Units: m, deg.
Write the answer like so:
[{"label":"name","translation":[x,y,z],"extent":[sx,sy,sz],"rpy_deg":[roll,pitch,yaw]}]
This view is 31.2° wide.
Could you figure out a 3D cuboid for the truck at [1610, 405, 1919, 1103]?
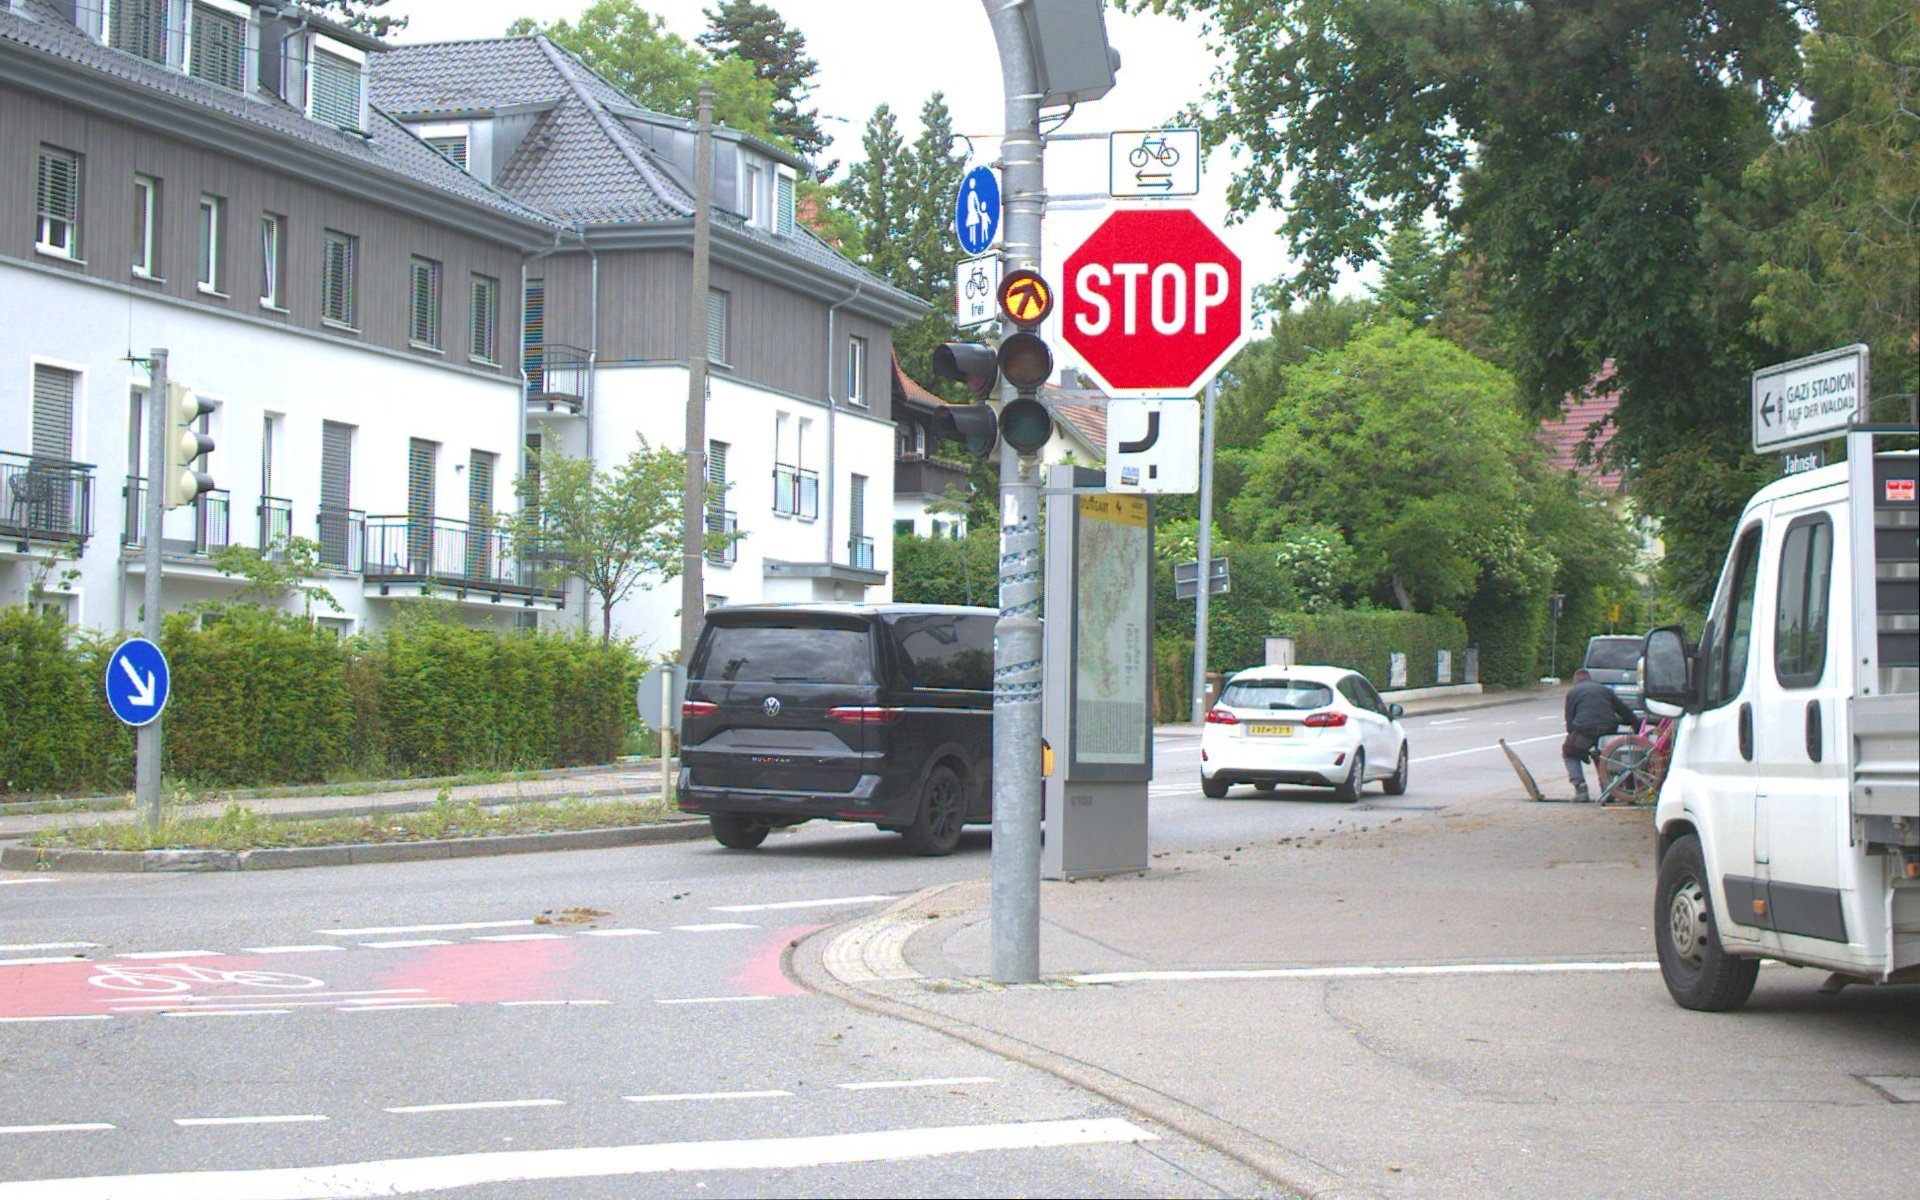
[{"label":"truck","translation":[4.049,0.518,11.833],"extent":[2.183,2.187,5.882],"rpy_deg":[1,-1,-3]}]

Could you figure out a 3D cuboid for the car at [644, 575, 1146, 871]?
[{"label":"car","translation":[-0.383,0.859,27.031],"extent":[1.996,2.006,4.774],"rpy_deg":[3,2,24]}]

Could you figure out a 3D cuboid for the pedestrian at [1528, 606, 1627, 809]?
[{"label":"pedestrian","translation":[6.183,1.061,34.414],"extent":[0.838,2.007,0.589],"rpy_deg":[0,0,-43]}]

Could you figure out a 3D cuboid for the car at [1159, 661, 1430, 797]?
[{"label":"car","translation":[3.759,1.436,38.032],"extent":[1.933,1.378,3.995],"rpy_deg":[1,-2,22]}]

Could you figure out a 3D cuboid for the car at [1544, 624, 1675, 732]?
[{"label":"car","translation":[12.639,1.551,67.107],"extent":[1.994,2.007,4.508],"rpy_deg":[1,-2,4]}]
